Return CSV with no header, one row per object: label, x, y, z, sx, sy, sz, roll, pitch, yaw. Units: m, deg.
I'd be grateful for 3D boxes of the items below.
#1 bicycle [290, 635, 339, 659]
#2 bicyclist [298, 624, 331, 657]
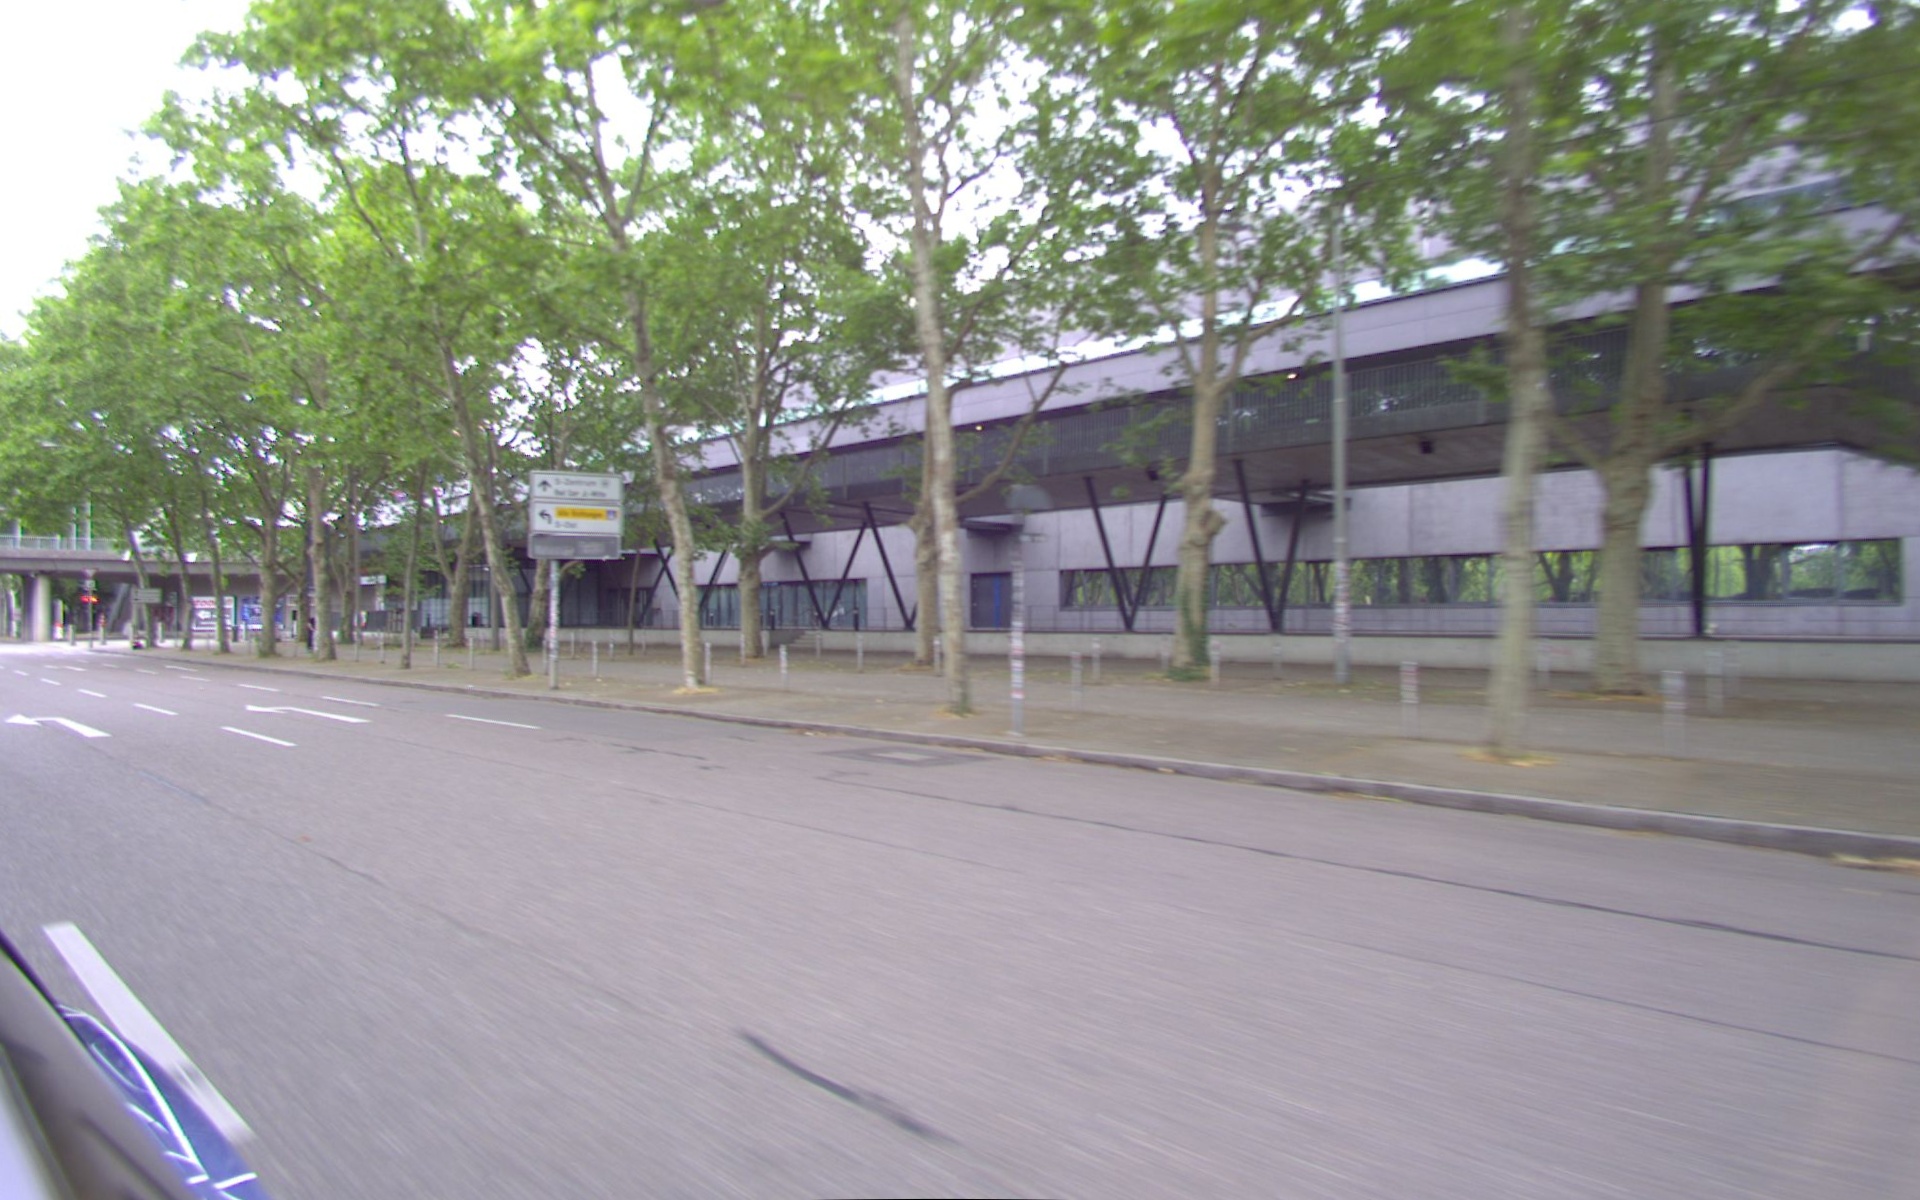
bicycle,-28.297,2.054,44.344,2.974,0.990,0.949,-2,-1,40
bicyclist,-28.288,1.757,44.331,1.120,1.421,0.926,-2,-1,40
